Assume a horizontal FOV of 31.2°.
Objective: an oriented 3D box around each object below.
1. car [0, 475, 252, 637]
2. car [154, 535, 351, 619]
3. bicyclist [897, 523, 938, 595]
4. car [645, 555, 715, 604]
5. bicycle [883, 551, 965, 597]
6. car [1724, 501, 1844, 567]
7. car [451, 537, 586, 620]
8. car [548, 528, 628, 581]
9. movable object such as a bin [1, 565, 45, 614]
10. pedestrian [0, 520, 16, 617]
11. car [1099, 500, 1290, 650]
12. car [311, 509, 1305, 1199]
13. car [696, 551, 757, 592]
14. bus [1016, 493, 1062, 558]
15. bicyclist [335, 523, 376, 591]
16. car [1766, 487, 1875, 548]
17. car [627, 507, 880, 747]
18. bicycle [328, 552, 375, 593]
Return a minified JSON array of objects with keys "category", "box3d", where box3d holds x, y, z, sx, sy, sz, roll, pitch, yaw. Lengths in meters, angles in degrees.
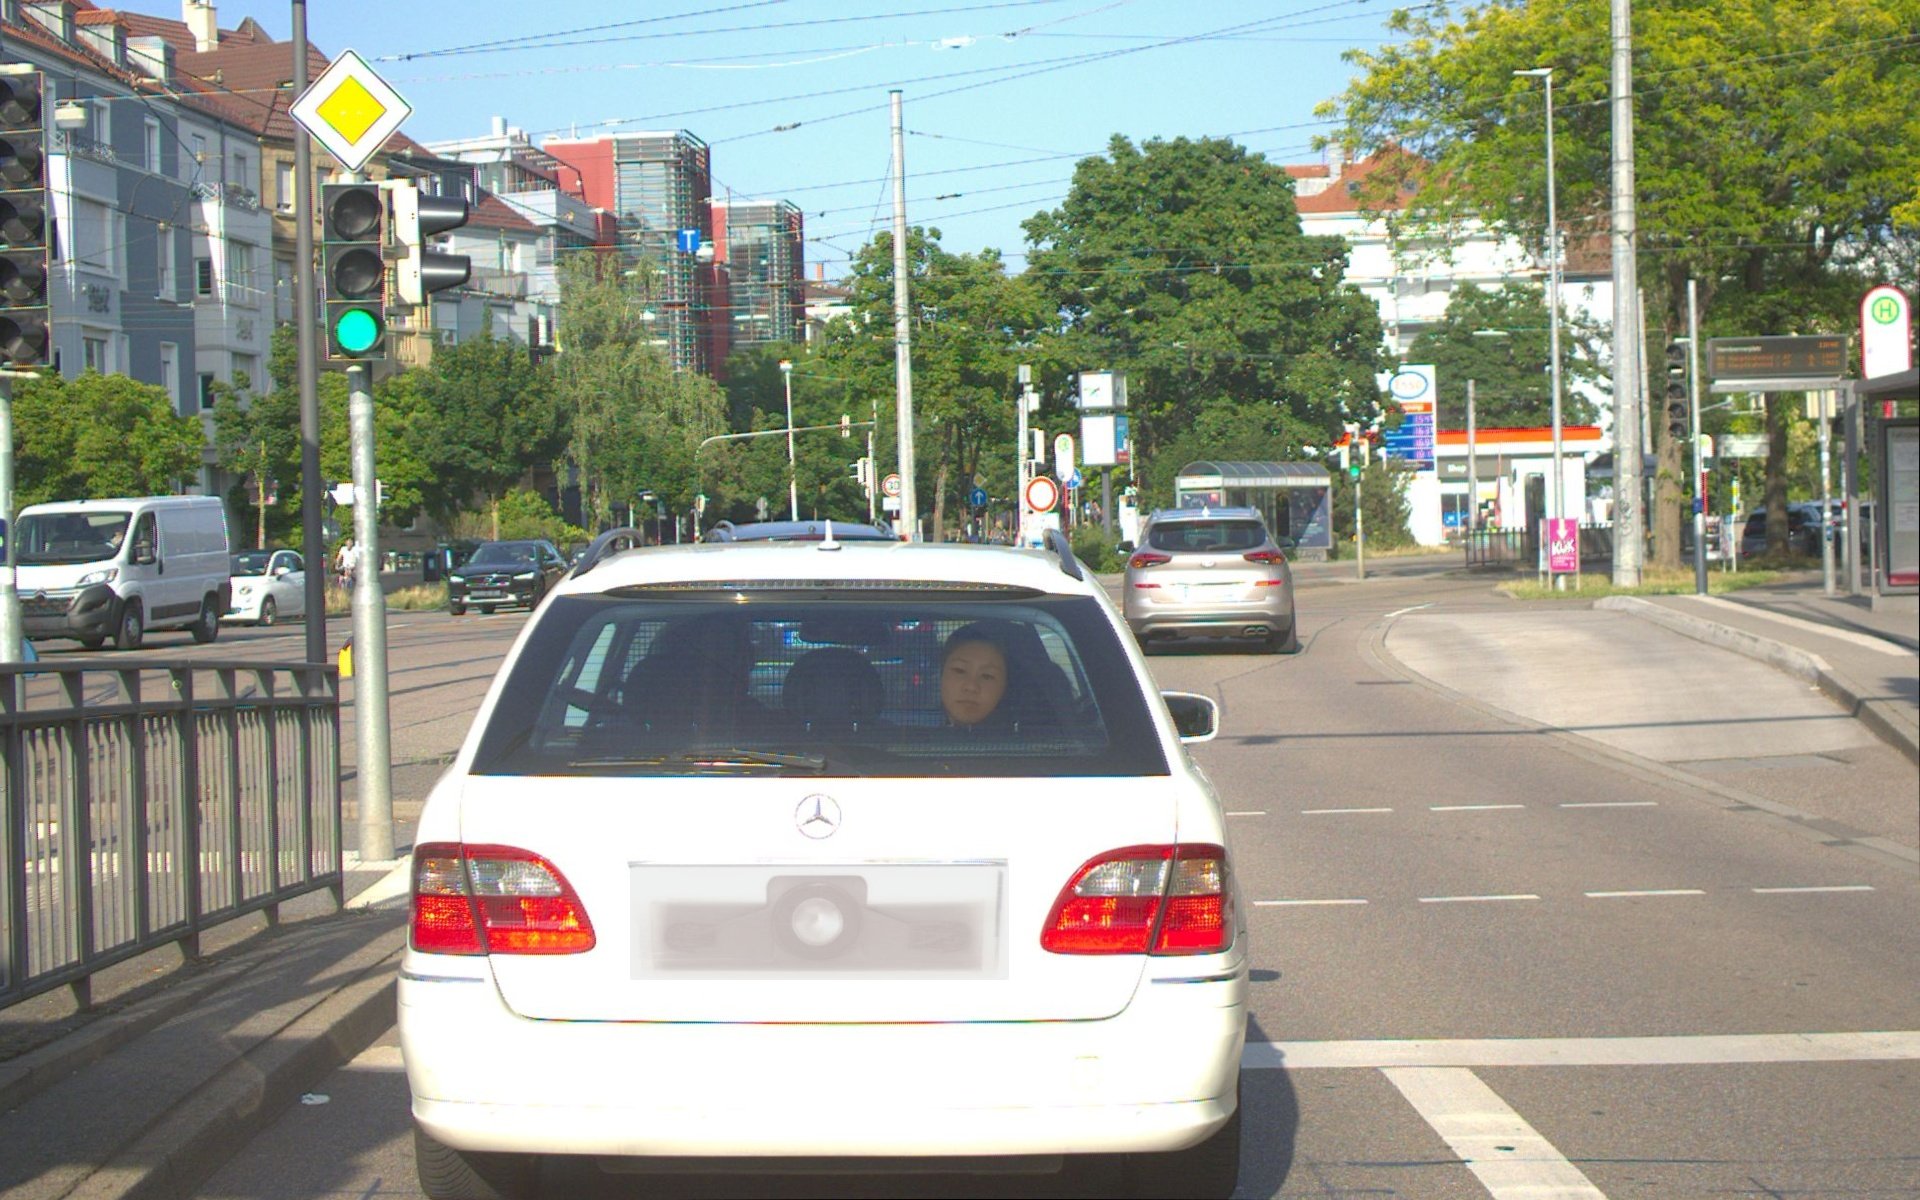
[{"category":"car","box3d":[-12.490,-0.691,50.716,2.178,2.231,5.251,-1,2,10]},{"category":"car","box3d":[-13.546,-0.459,66.037,1.796,1.452,3.996,-1,2,21]},{"category":"bicyclist","box3d":[-1.017,-0.989,82.860,0.899,1.693,0.732,-3,1,1]},{"category":"car","box3d":[-9.092,-0.688,111.787,1.689,1.436,4.000,-2,2,3]},{"category":"bicycle","box3d":[-0.860,-0.639,82.872,1.914,0.991,0.727,-3,1,0]},{"category":"car","box3d":[20.878,-1.690,87.010,1.856,1.510,3.994,-2,1,30]},{"category":"car","box3d":[-9.172,-0.483,71.740,1.767,1.489,4.744,-2,3,5]},{"category":"car","box3d":[-10.522,-1.299,97.314,1.634,1.428,3.628,-2,1,3]},{"category":"movable object such as a bin","box3d":[-18.556,-0.216,68.090,0.583,0.943,0.663,-1,1,9]},{"category":"pedestrian","box3d":[-18.828,-0.617,67.044,0.584,1.874,0.626,-2,1,3]},{"category":"car","box3d":[2.587,-0.302,38.646,1.835,1.594,3.815,0,1,-1]},{"category":"car","box3d":[-0.283,0.545,8.270,1.835,1.496,3.815,0,1,0]},{"category":"car","box3d":[-8.440,-1.053,124.312,1.689,1.415,4.000,-2,1,3]},{"category":"bus","box3d":[3.176,-2.986,138.639,1.798,2.546,4.000,1,0,1]},{"category":"bicyclist","box3d":[-15.149,-1.077,86.136,0.760,1.662,1.167,-2,1,1]},{"category":"car","box3d":[23.143,-2.225,92.387,1.856,1.510,3.994,-2,1,28]},{"category":"car","box3d":[-1.419,0.142,24.822,1.641,1.594,3.815,0,1,-1]},{"category":"bicycle","box3d":[-15.164,-0.682,85.727,0.769,0.962,2.034,-2,1,1]}]
